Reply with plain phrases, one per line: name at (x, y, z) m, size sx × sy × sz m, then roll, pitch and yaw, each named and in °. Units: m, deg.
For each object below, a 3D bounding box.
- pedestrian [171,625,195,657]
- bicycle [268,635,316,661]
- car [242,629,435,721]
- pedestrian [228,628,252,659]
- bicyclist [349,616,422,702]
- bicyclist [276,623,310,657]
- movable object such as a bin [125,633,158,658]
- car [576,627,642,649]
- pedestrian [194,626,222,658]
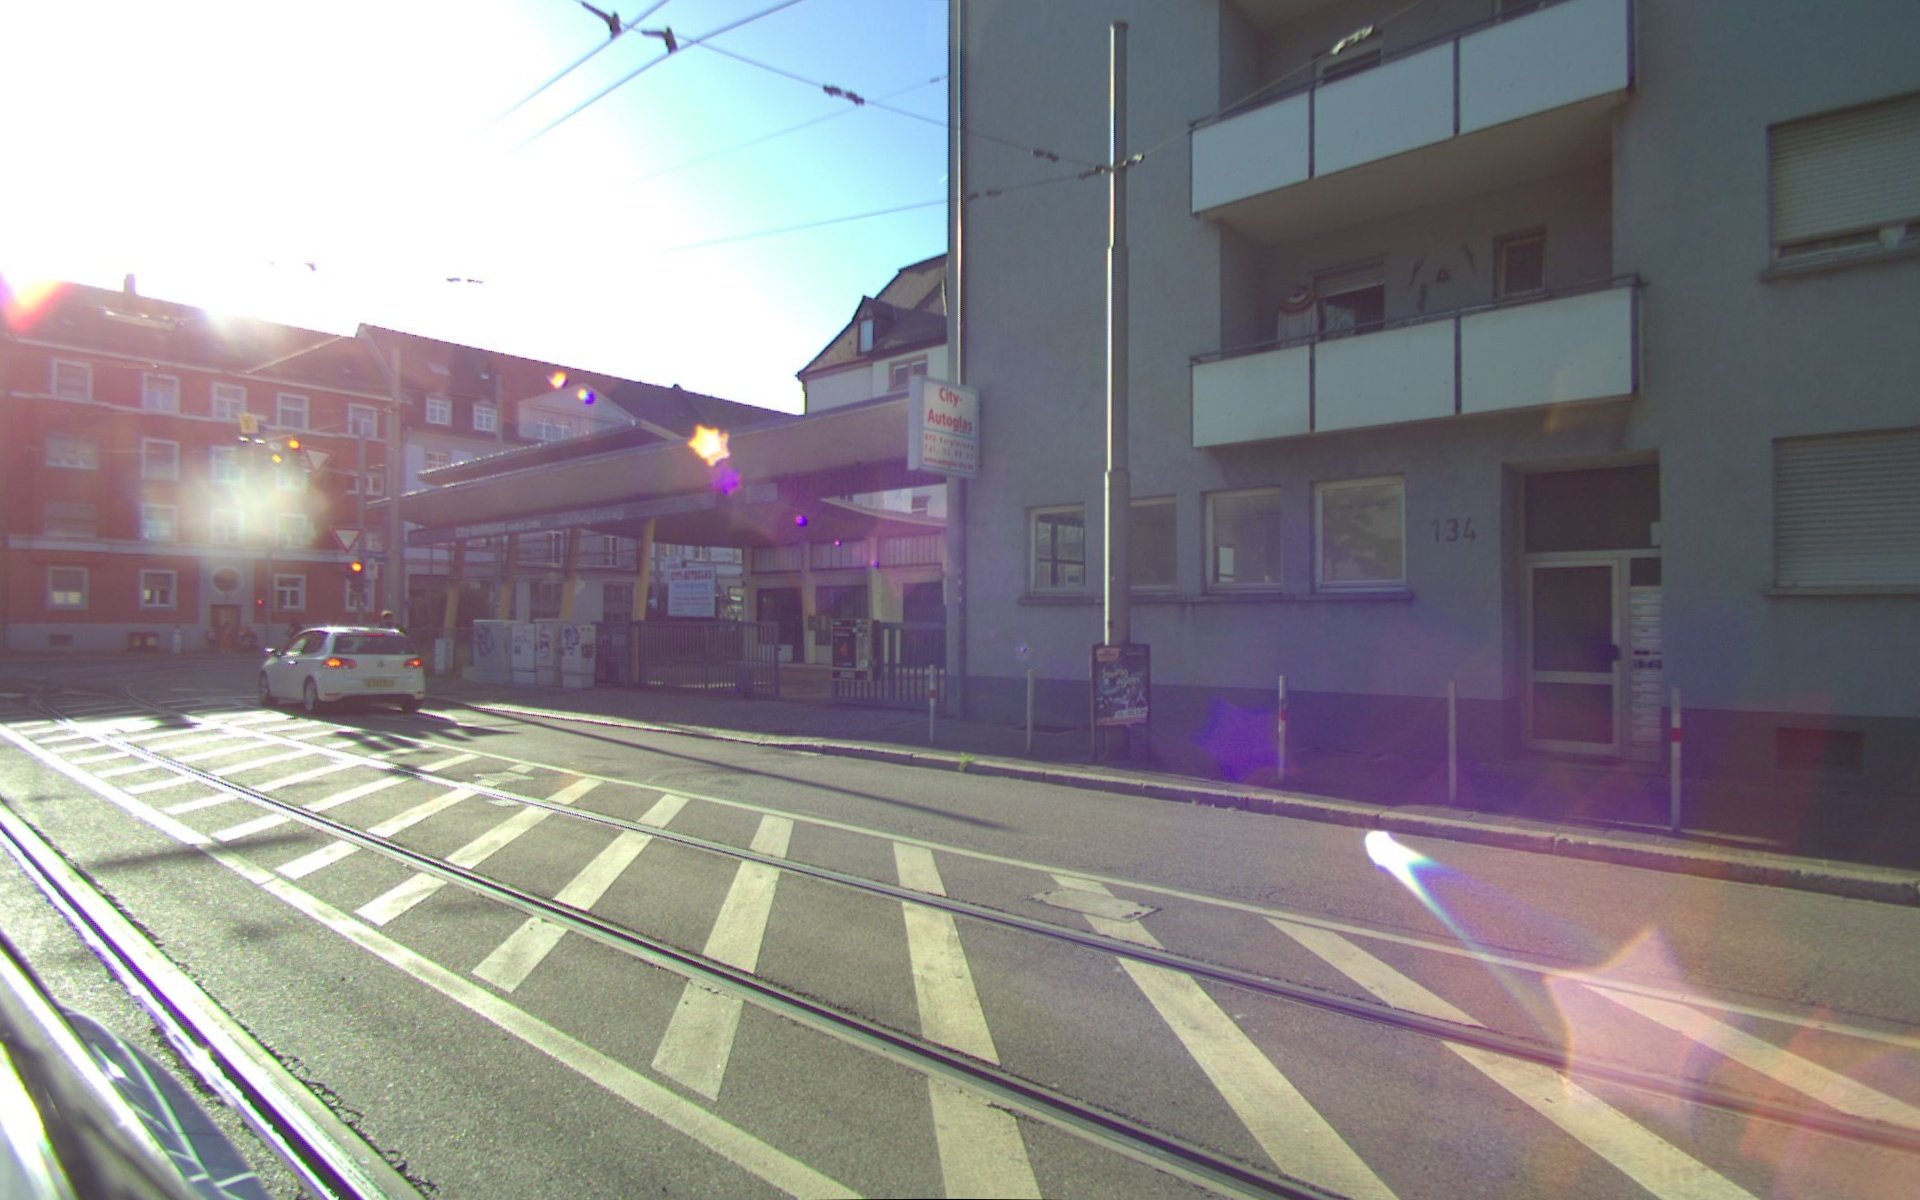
pedestrian at (-40.362, 2.112, 52.590) m, size 0.789 × 1.645 × 0.650 m, roll 0°, pitch -2°, yaw 19°
bicycle at (-30.598, 2.194, 46.368) m, size 2.053 × 1.134 × 0.889 m, roll 0°, pitch -2°, yaw 24°
car at (-11.253, 1.272, 18.218) m, size 4.188 × 1.469 × 1.772 m, roll -1°, pitch -4°, yaw 42°
pedestrian at (-38.974, 2.336, 54.781) m, size 0.647 × 1.645 × 0.793 m, roll 0°, pitch -2°, yaw 8°
bicyclist at (-12.425, 1.255, 21.892) m, size 1.251 × 1.800 × 0.900 m, roll -1°, pitch -2°, yaw 36°
bicyclist at (-30.550, 1.840, 46.373) m, size 1.045 × 1.538 × 0.872 m, roll -1°, pitch -2°, yaw 24°
movable object such as a bin at (-41.744, 2.301, 51.614) m, size 1.215 × 1.259 × 0.874 m, roll 2°, pitch -3°, yaw -44°
car at (-24.001, 2.592, 69.232) m, size 1.723 × 1.463 × 3.947 m, roll -2°, pitch -2°, yaw 40°
pedestrian at (-39.707, 2.200, 53.450) m, size 0.820 × 1.645 × 0.795 m, roll 0°, pitch -2°, yaw 2°
